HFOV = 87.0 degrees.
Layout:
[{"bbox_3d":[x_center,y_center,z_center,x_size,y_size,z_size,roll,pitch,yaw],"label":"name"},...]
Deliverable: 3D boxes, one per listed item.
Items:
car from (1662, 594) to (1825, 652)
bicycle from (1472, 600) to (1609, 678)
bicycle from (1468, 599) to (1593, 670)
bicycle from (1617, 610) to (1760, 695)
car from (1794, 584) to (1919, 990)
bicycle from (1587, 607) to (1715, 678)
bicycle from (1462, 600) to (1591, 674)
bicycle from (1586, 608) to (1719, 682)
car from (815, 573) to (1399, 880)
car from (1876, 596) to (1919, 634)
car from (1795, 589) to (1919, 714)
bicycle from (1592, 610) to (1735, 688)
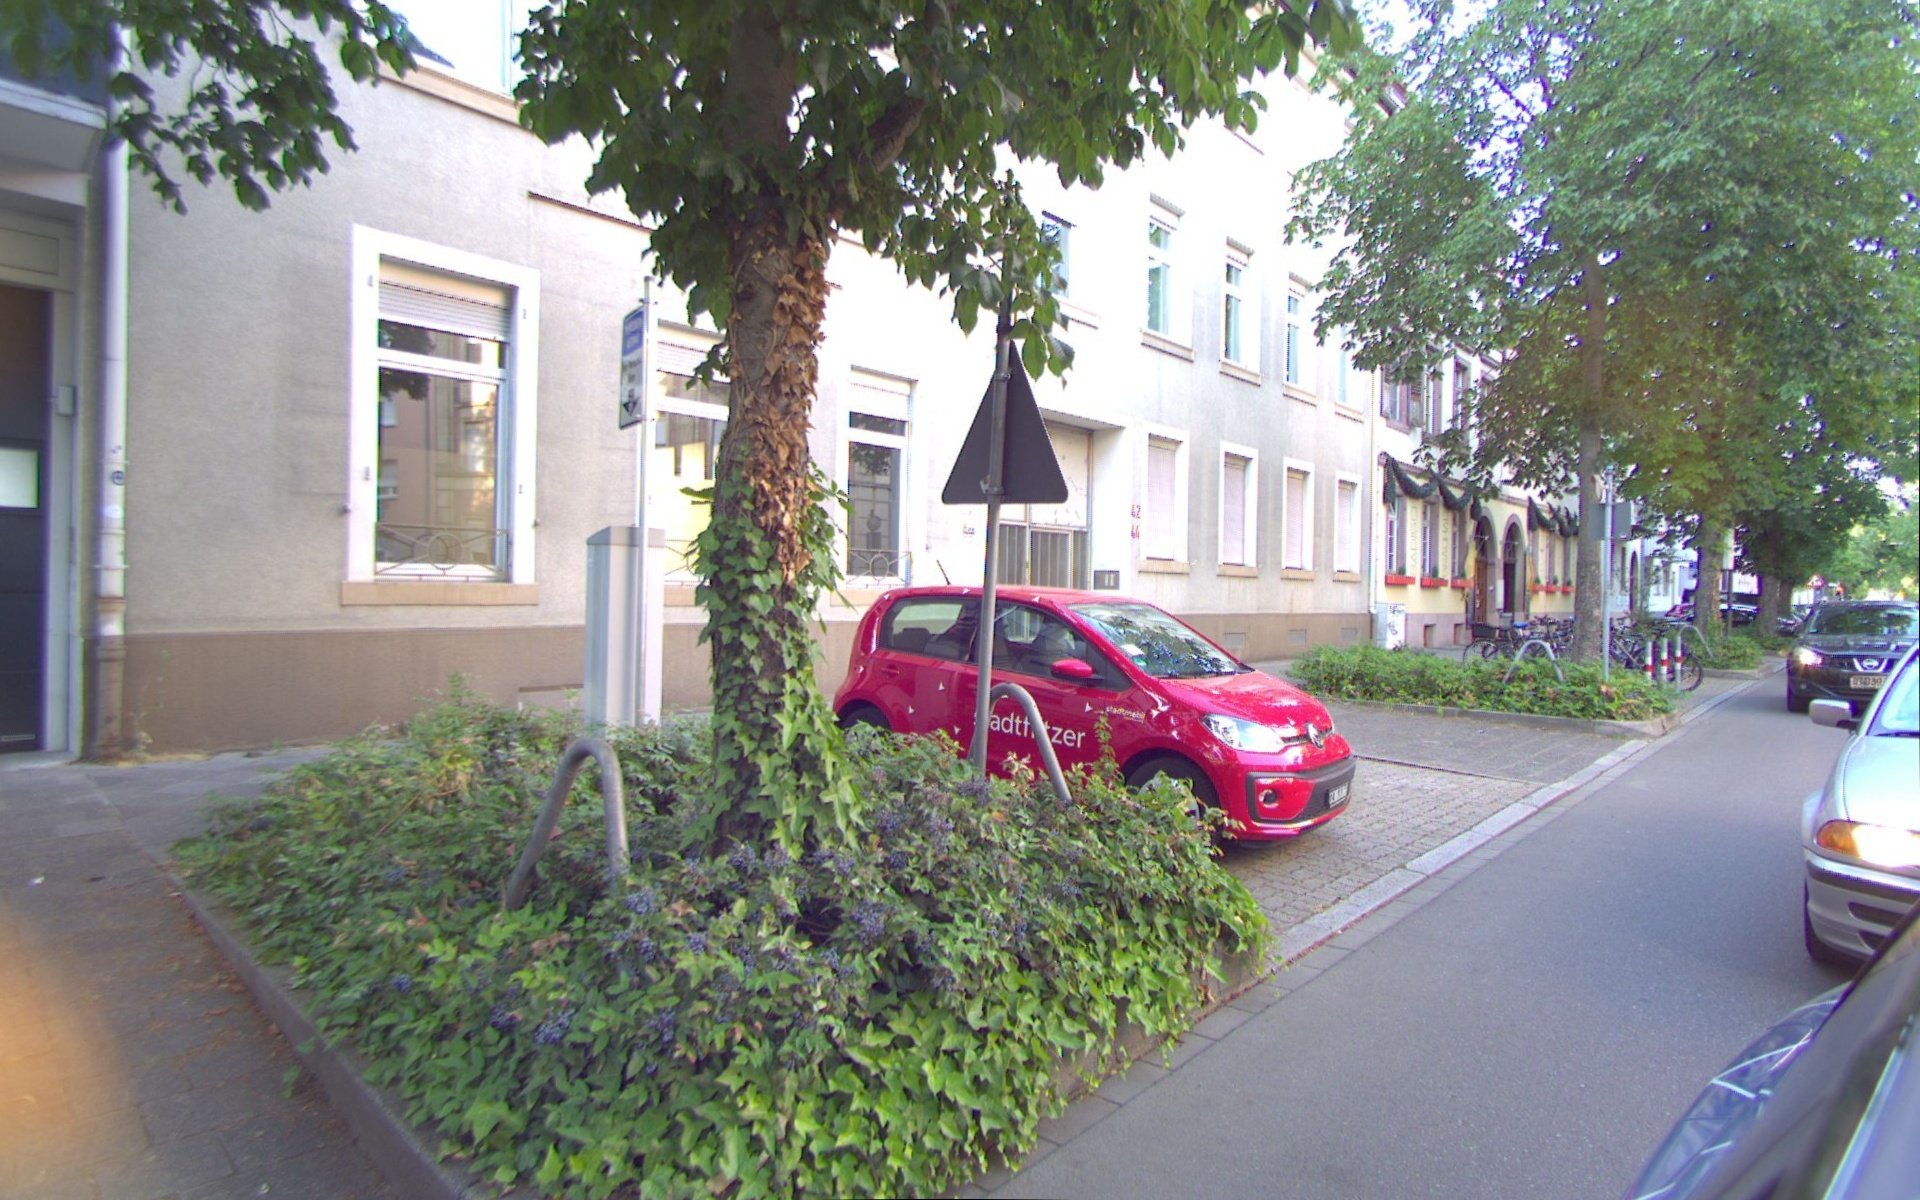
[{"bbox_3d":[26.616,0.721,34.456,4.232,1.761,1.715,2,1,43],"label":"car"},{"bbox_3d":[10.084,0.655,17.628,2.014,1.242,0.529,2,1,33],"label":"bicycle"},{"bbox_3d":[10.931,0.633,19.432,2.017,1.242,0.529,2,1,37],"label":"bicycle"},{"bbox_3d":[11.853,0.827,16.539,1.835,1.242,0.529,2,1,33],"label":"bicycle"},{"bbox_3d":[5.434,0.687,4.693,4.358,1.460,1.710,0,1,-41],"label":"car"},{"bbox_3d":[13.471,0.804,19.772,2.019,1.242,0.528,2,1,39],"label":"bicycle"},{"bbox_3d":[10.300,0.646,18.438,2.014,1.242,0.529,2,1,33],"label":"bicycle"},{"bbox_3d":[12.991,0.814,19.019,2.019,1.242,0.528,2,1,39],"label":"bicycle"},{"bbox_3d":[0.812,0.588,6.828,3.609,1.495,1.639,2,1,42],"label":"car"},{"bbox_3d":[41.185,0.628,44.019,3.935,1.571,1.802,0,1,-45],"label":"car"},{"bbox_3d":[13.346,0.656,14.474,1.802,1.571,3.935,2,1,45],"label":"car"},{"bbox_3d":[12.355,0.828,17.825,2.019,1.242,0.528,2,1,39],"label":"bicycle"}]
